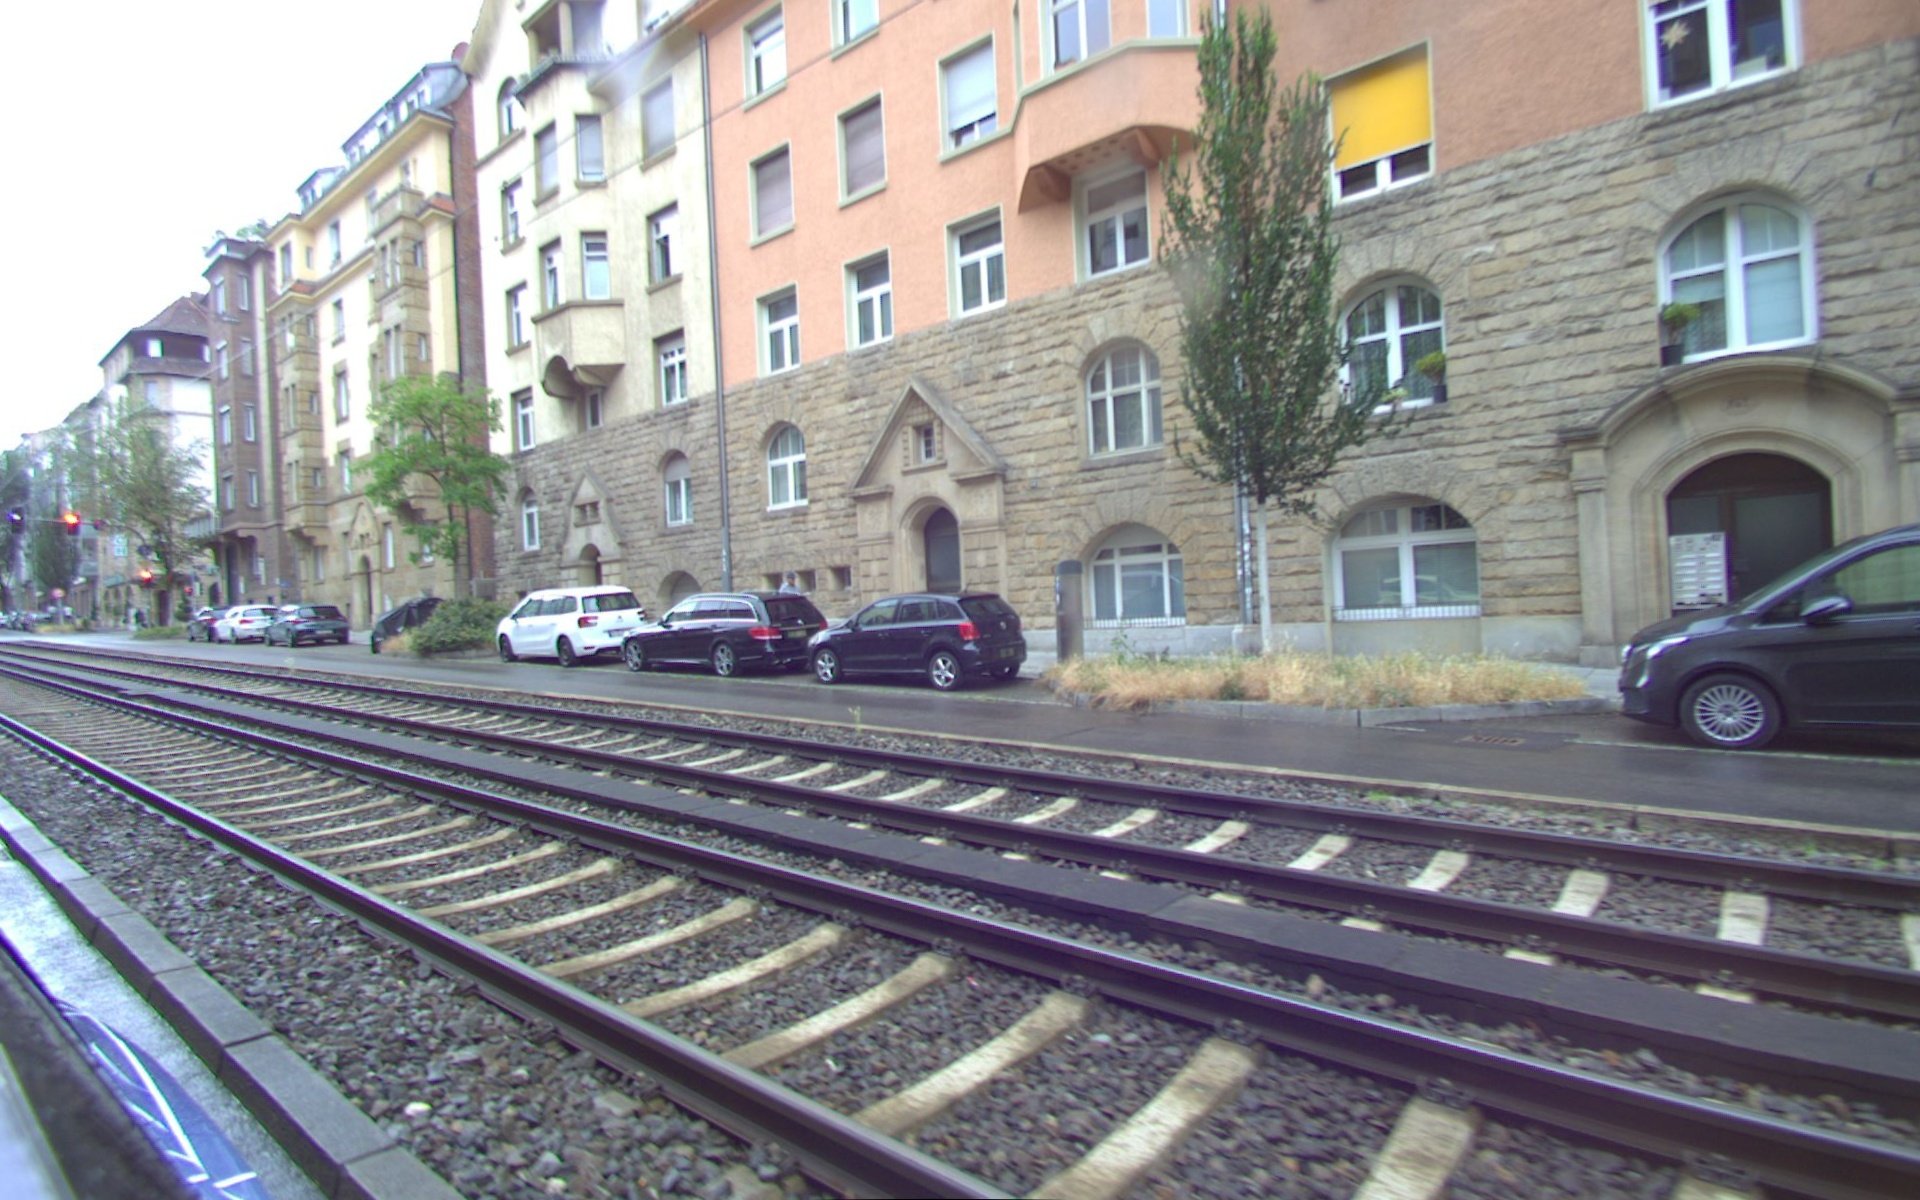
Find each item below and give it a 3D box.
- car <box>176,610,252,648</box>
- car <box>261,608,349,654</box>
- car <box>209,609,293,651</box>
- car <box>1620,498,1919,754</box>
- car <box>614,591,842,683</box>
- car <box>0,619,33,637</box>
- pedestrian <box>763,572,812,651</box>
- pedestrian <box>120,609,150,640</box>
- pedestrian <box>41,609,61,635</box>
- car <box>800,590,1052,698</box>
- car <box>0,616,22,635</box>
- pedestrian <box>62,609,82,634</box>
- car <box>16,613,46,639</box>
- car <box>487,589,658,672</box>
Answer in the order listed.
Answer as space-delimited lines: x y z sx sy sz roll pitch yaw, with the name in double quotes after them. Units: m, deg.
-31.164 1.195 42.255 3.843 1.452 1.748 -1 0 41 "car"
-22.706 1.034 35.026 3.845 1.452 1.656 -1 1 43 "car"
-27.307 1.144 38.931 4.030 1.452 1.748 -1 1 42 "car"
8.314 0.187 8.136 4.823 1.956 1.973 -1 0 41 "car"
-4.466 0.655 19.097 4.599 1.506 1.824 -1 0 41 "car"
-73.298 2.165 78.525 3.843 1.321 1.563 -1 0 41 "car"
-3.700 0.245 21.664 0.765 1.654 0.692 -1 0 41 "pedestrian"
-54.060 1.572 66.326 1.154 1.972 1.050 -2 0 20 "pedestrian"
-73.174 1.770 81.452 1.163 1.972 1.042 -1 0 43 "pedestrian"
-0.586 0.630 16.074 3.638 1.508 1.912 -1 0 38 "car"
-79.923 2.165 84.601 3.843 1.527 1.748 -1 0 41 "car"
-72.340 1.760 82.429 1.163 1.972 1.042 -1 0 43 "pedestrian"
-68.050 1.881 74.158 1.561 1.691 3.794 -2 2 -43 "car"
-8.772 0.655 22.772 4.144 1.668 1.843 -1 0 41 "car"
